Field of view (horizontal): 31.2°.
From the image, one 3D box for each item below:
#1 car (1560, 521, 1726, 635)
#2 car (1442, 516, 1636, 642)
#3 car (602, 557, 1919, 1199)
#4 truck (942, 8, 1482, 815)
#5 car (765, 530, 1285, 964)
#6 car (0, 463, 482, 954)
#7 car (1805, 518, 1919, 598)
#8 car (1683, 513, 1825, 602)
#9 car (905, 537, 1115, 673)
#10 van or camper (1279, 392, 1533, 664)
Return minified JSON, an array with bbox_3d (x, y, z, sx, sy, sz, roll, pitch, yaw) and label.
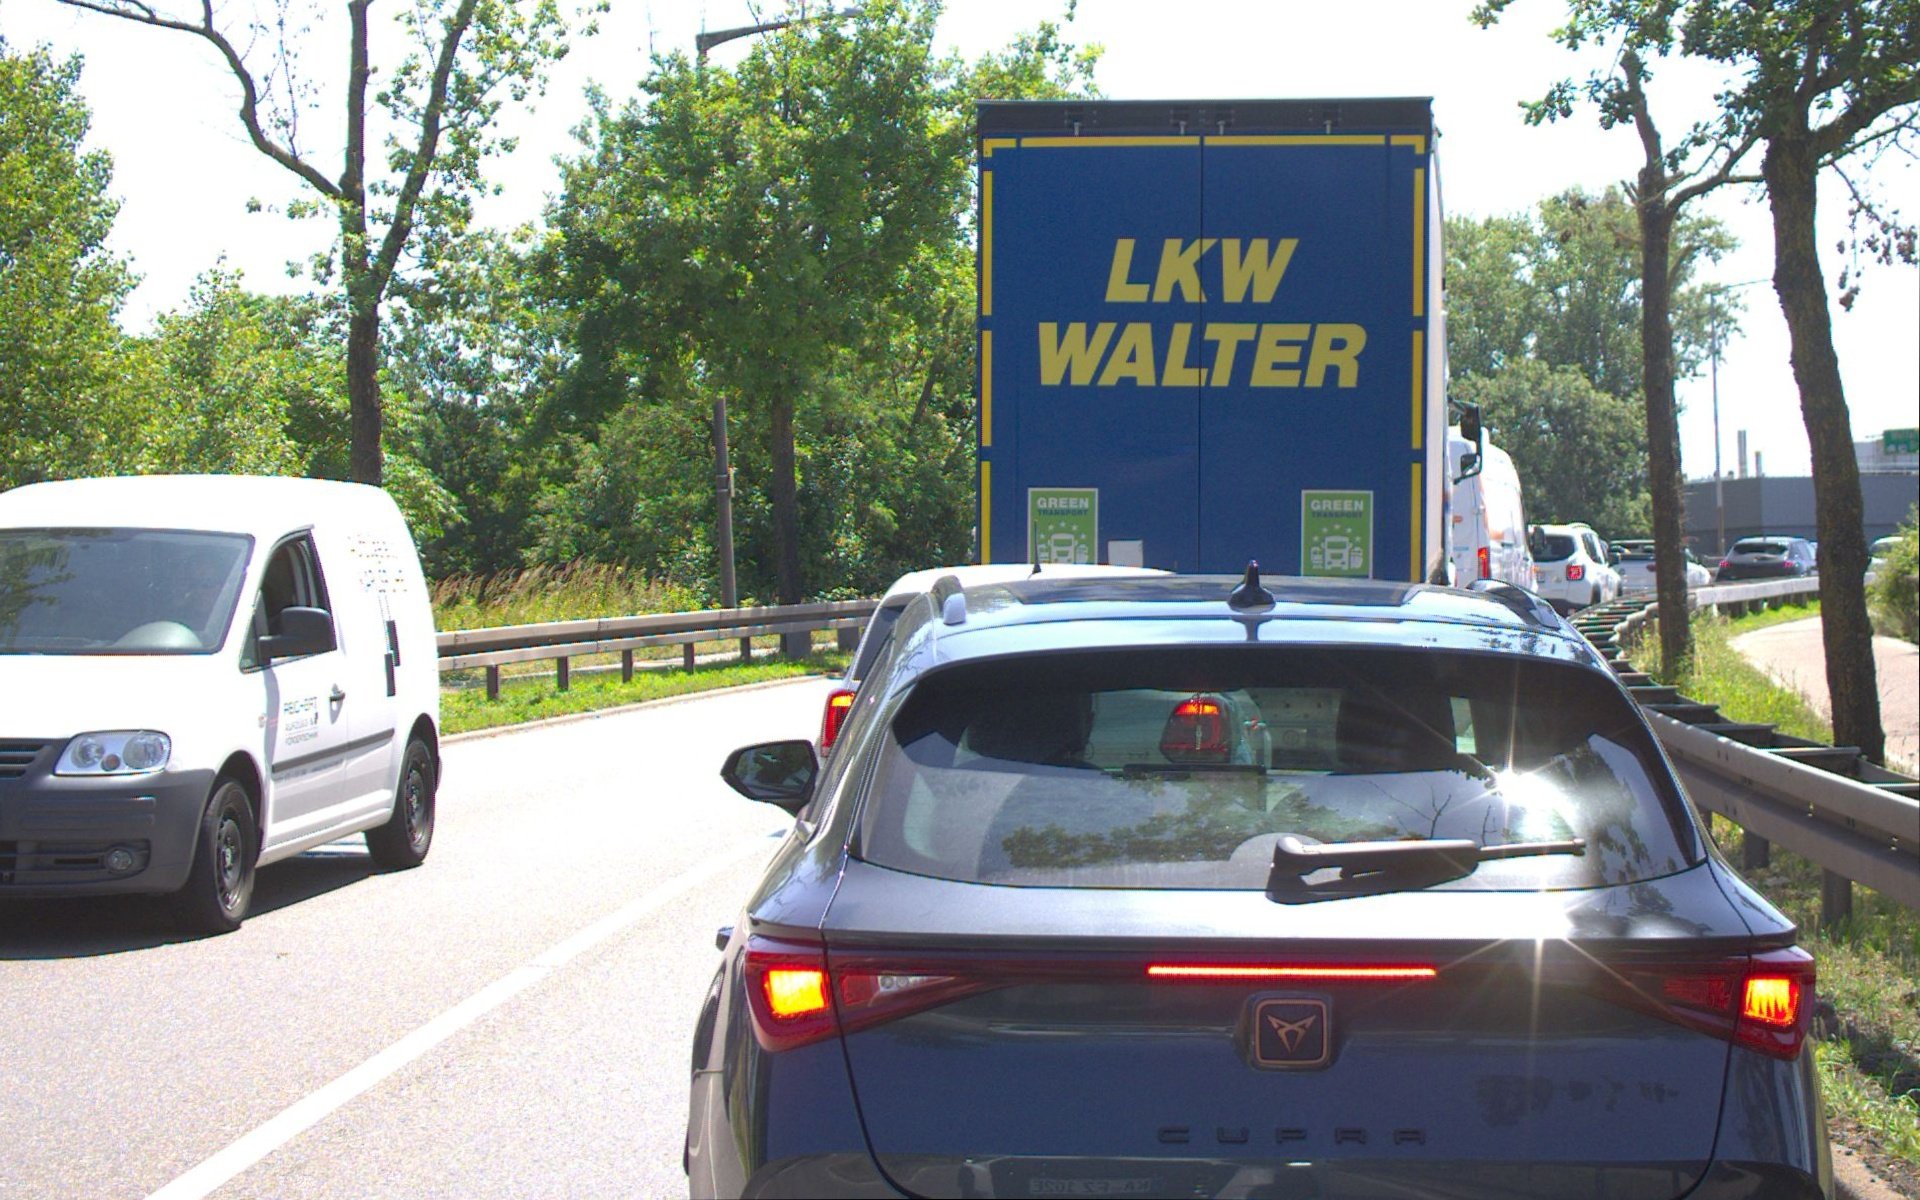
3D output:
[{"bbox_3d":[11.423,-0.389,57.244,1.995,1.802,4.841,1,1,20],"label":"car"},{"bbox_3d":[8.386,-0.325,49.482,1.995,1.706,4.616,1,1,19],"label":"car"},{"bbox_3d":[0.390,0.651,6.267,1.744,1.427,3.880,1,1,-1],"label":"car"},{"bbox_3d":[2.570,-1.173,27.428,2.951,4.433,16.793,1,1,8],"label":"truck"},{"bbox_3d":[0.245,0.485,14.065,1.809,1.503,4.000,1,1,1],"label":"car"},{"bbox_3d":[-3.475,0.347,14.611,1.746,1.757,4.388,1,1,7],"label":"car"},{"bbox_3d":[20.831,-0.974,79.273,1.996,1.762,4.749,1,1,22],"label":"car"},{"bbox_3d":[15.911,-0.855,68.748,1.996,1.711,4.863,1,1,22],"label":"car"},{"bbox_3d":[0.626,0.014,38.575,1.820,1.416,4.465,1,1,8],"label":"car"},{"bbox_3d":[5.412,-0.848,40.958,2.467,2.988,6.083,1,1,12],"label":"van or camper"}]
